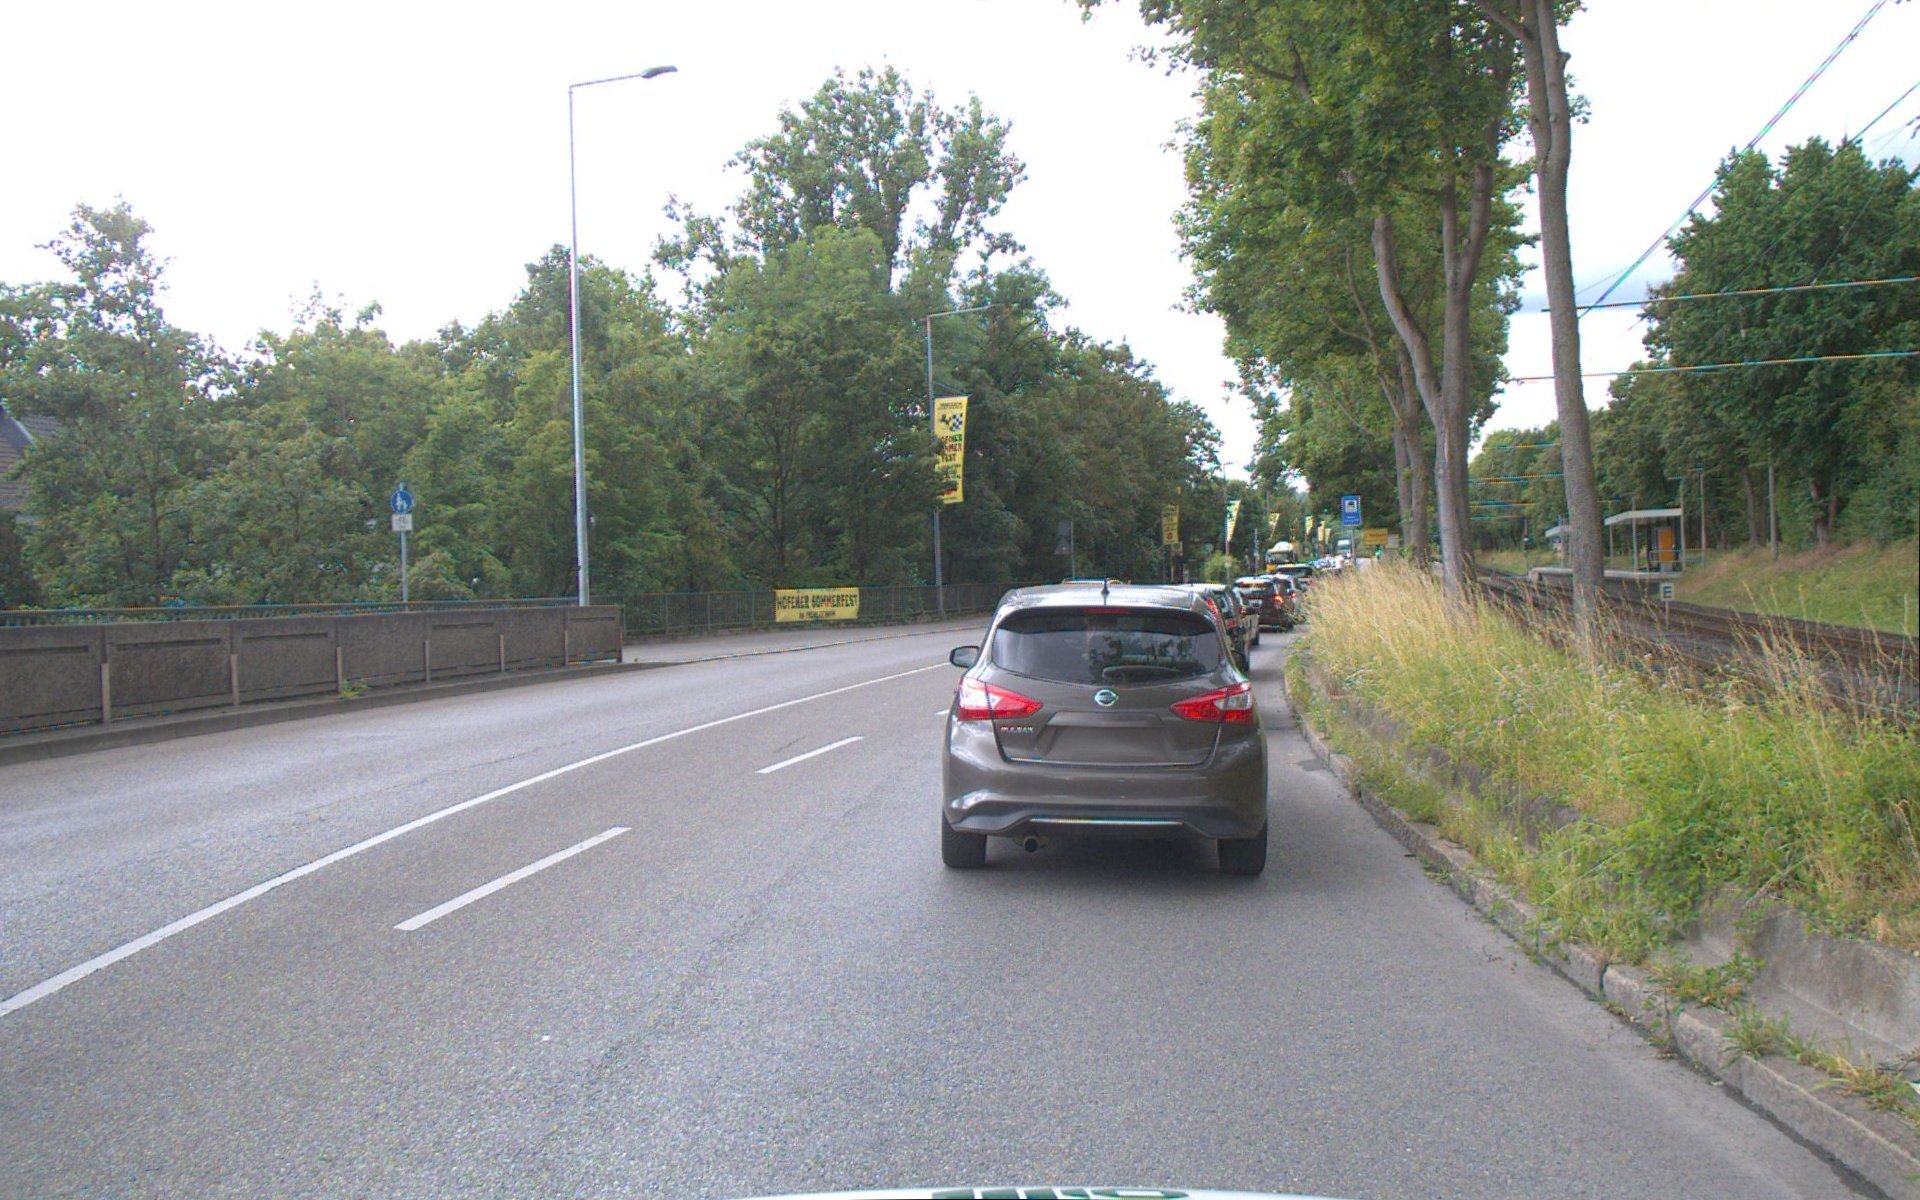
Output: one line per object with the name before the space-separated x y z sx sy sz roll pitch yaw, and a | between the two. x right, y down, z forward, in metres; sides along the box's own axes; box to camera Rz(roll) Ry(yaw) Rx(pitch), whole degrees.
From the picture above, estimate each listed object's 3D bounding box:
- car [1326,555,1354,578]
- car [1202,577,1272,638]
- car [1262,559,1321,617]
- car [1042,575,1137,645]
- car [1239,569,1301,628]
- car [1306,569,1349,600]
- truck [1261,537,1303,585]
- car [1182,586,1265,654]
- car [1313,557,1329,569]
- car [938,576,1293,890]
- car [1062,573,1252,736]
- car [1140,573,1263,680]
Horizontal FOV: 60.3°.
car | 28.266 -2.488 122.922 1.850 1.682 4.003 -1 0 15
car | 7.575 0.185 44.952 1.766 1.567 4.003 1 0 11
car | 12.263 -0.452 61.018 1.850 2.049 4.003 -1 0 15
car | 3.087 0.231 38.769 1.812 1.512 4.424 -1 -1 10
car | 9.779 -0.018 52.010 1.681 1.723 4.003 -2 -2 13
car | 18.053 -0.760 81.183 1.850 1.470 3.810 -1 0 15
truck | 28.181 -3.382 144.557 2.599 4.007 10.117 0 1 17
car | 5.866 0.415 36.550 1.468 1.388 3.590 -2 0 14
car | 46.662 -4.724 213.599 1.779 1.488 4.003 -1 1 15
car | 1.013 0.661 10.157 1.737 1.520 4.003 0 0 7
car | 2.213 0.554 18.376 1.852 1.601 4.003 0 -1 8
car | 3.958 0.391 26.623 1.544 1.565 4.003 -2 0 14
